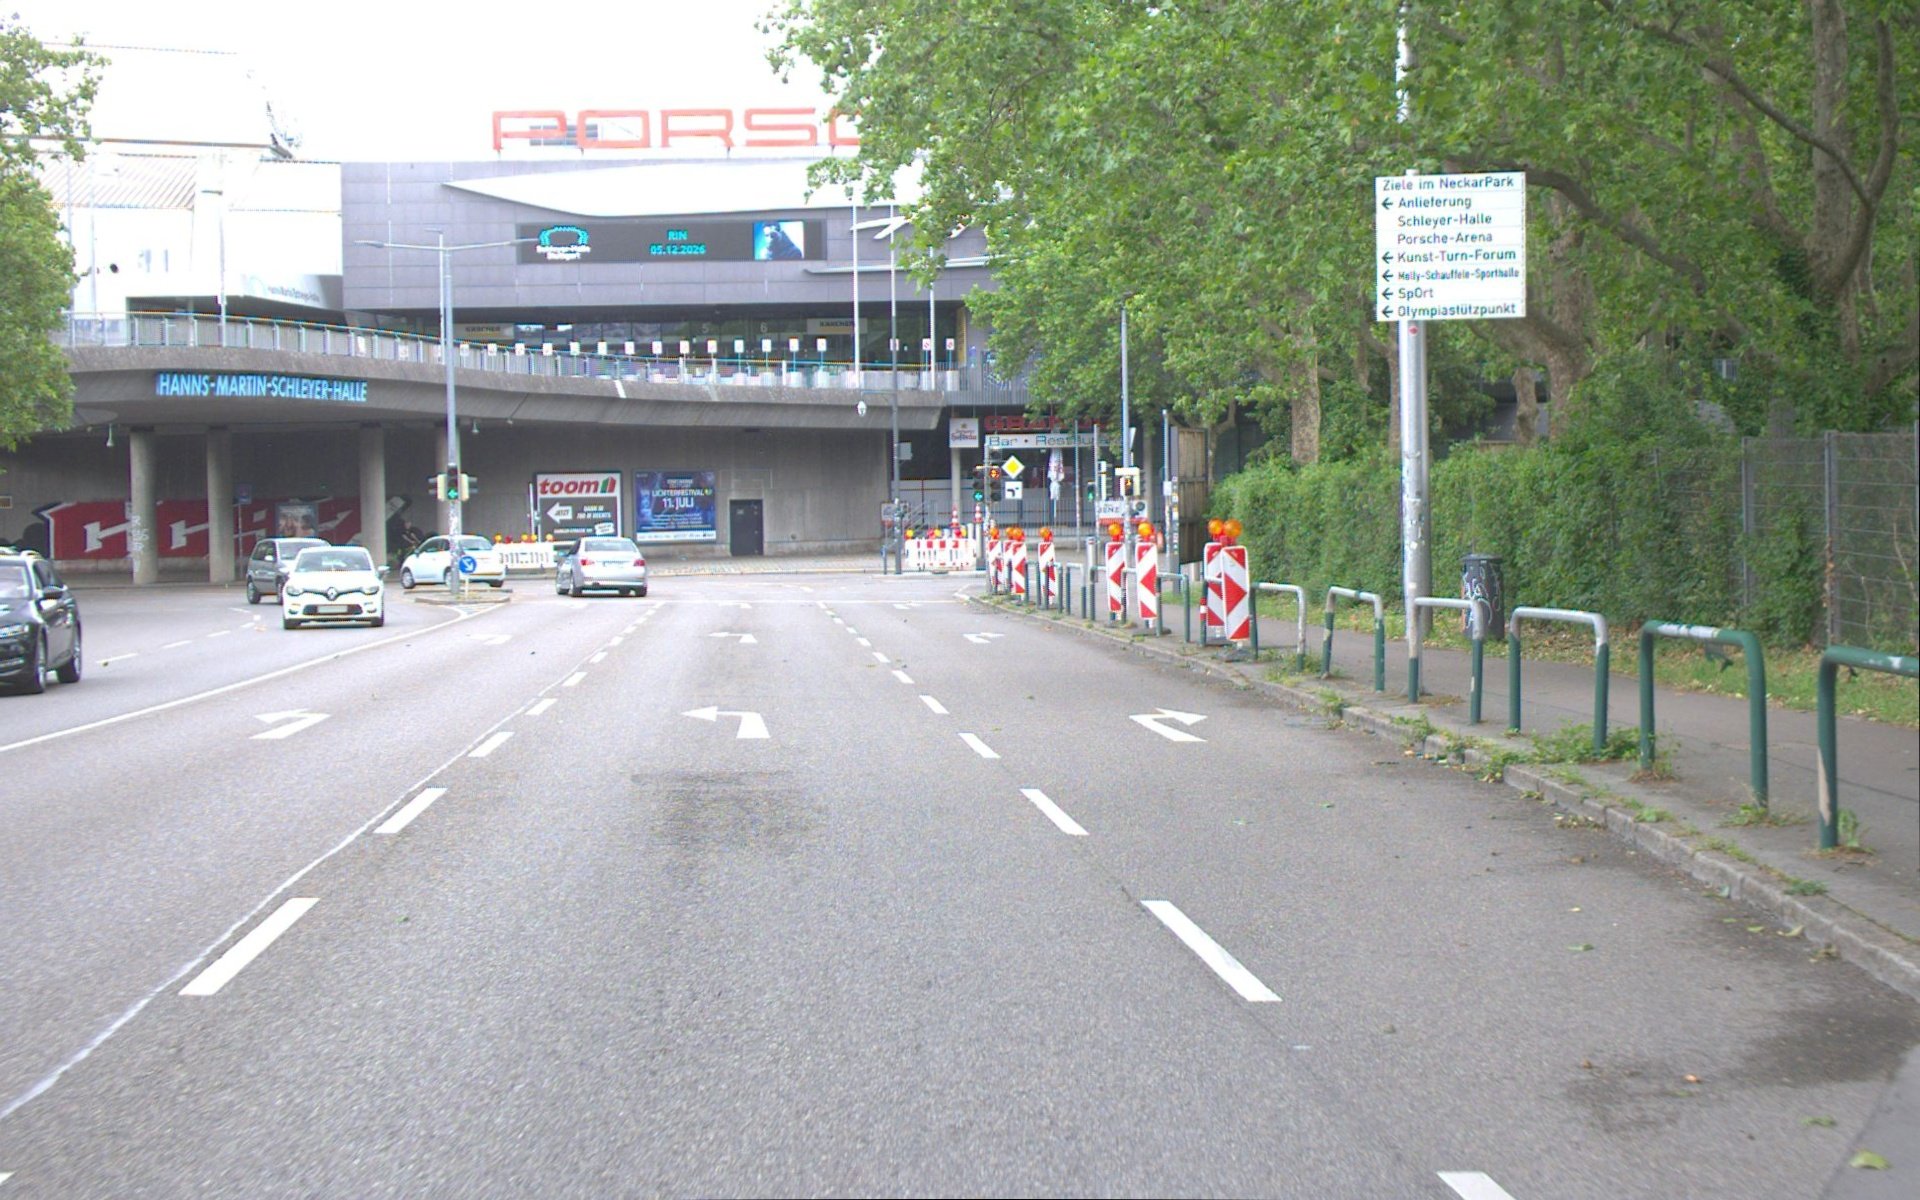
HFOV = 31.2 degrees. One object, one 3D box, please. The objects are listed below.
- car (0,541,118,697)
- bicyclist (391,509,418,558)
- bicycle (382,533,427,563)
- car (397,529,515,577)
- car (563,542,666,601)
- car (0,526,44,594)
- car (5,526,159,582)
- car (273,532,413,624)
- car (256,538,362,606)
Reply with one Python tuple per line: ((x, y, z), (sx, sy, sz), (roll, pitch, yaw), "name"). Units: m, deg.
((-10.364, 0.170, 36.487), (1.993, 1.525, 4.727), (-2, 1, -5), "car")
((-19.420, -2.327, 120.206), (0.851, 1.692, 0.767), (1, 1, -7), "bicyclist")
((-19.421, -1.817, 120.206), (1.532, 1.009, 0.517), (1, 1, -7), "bicycle")
((-13.962, -1.299, 95.113), (1.611, 1.308, 3.394), (-1, 1, -42), "car")
((-8.479, -0.716, 84.126), (1.993, 1.414, 4.001), (-1, 1, -13), "car")
((-26.555, -1.005, 90.411), (4.587, 1.738, 1.997), (-1, 0, 27), "car")
((-26.226, -1.380, 102.748), (3.989, 1.654, 1.999), (0, 1, 11), "car")
((-10.973, -0.419, 61.395), (1.993, 1.525, 4.386), (-2, 1, -5), "car")
((-15.166, -0.675, 80.238), (1.993, 1.520, 4.001), (-1, 1, -5), "car")
